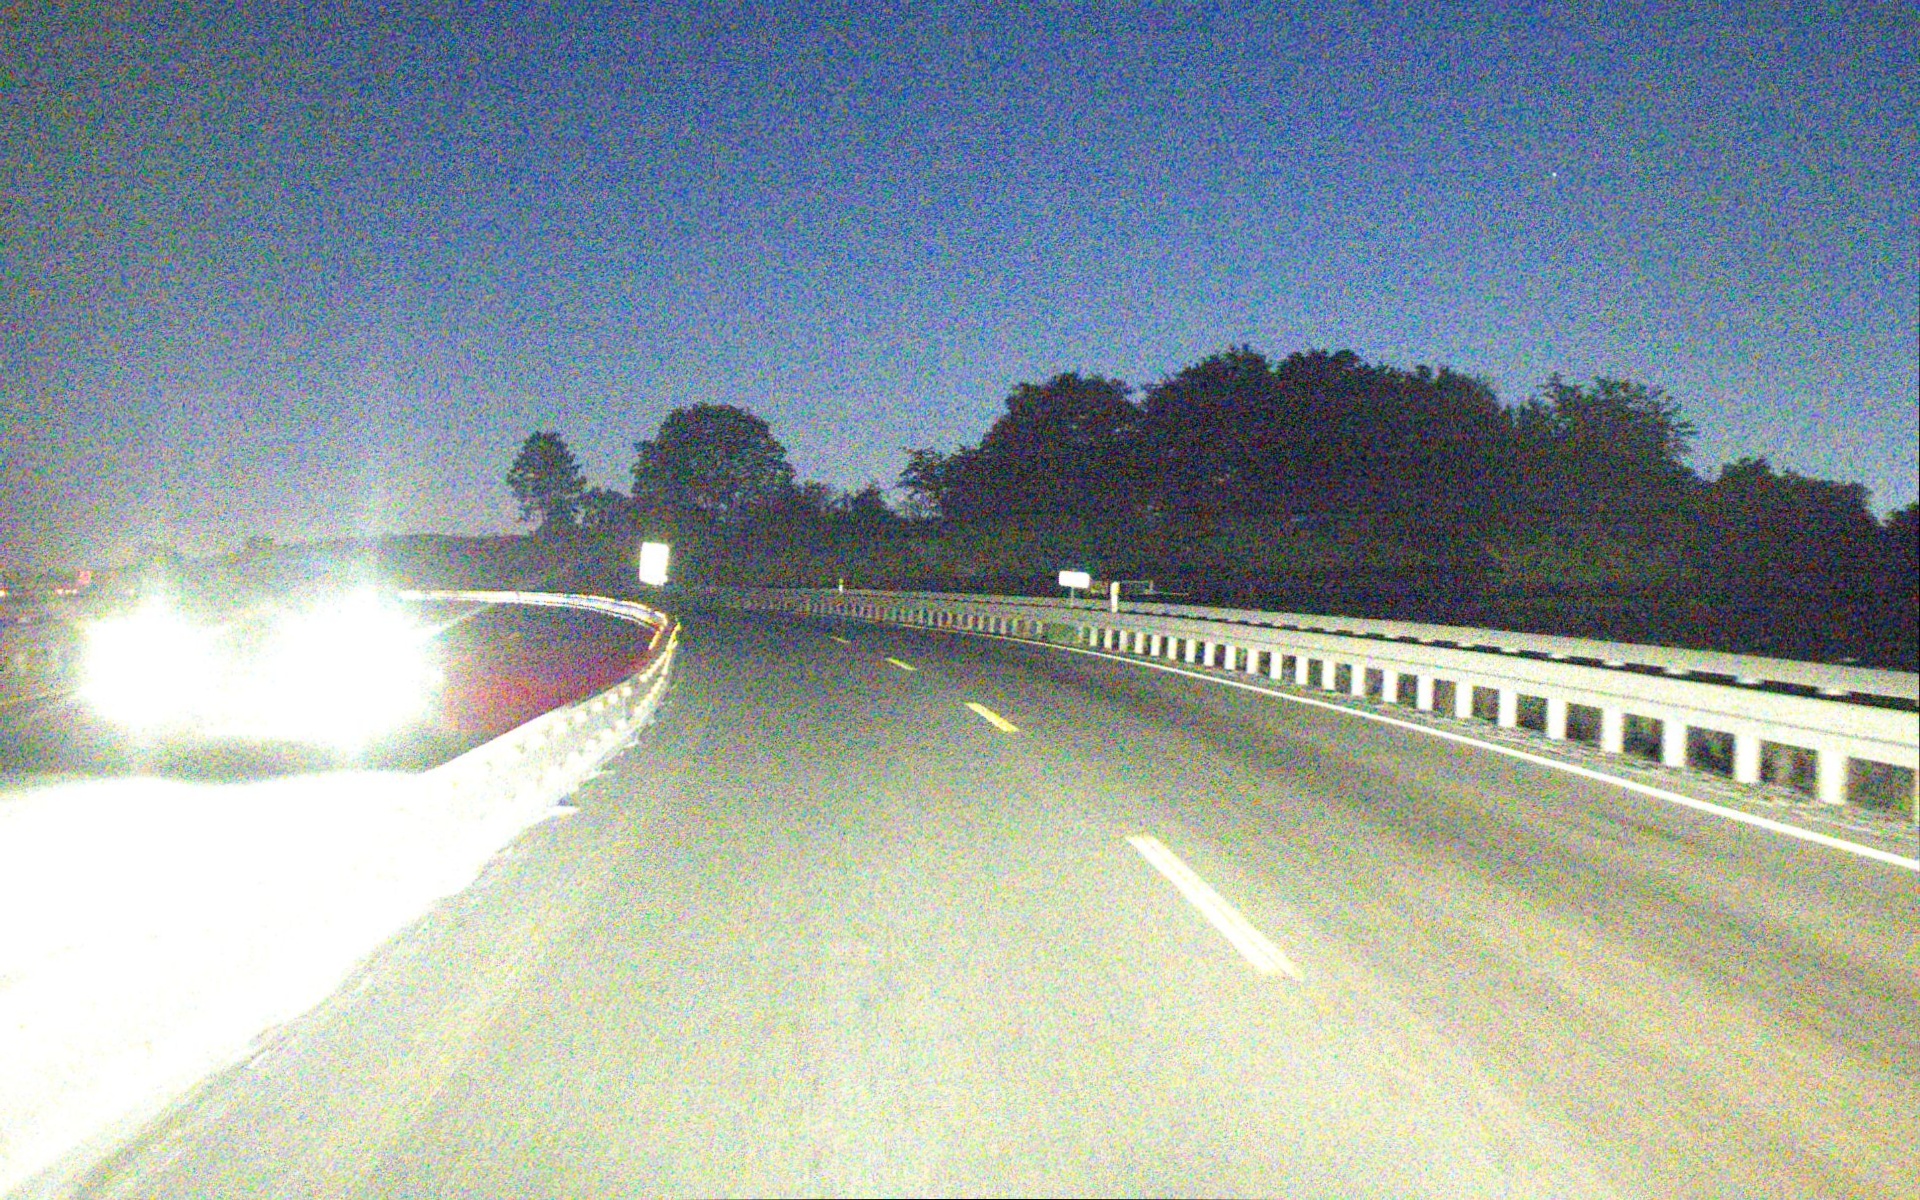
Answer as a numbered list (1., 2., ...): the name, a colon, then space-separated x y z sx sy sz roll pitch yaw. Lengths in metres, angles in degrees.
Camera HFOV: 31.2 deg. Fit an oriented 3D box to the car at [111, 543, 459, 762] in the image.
1. car: -5.061 0.377 26.356 1.818 1.511 4.523 -1 0 -1
